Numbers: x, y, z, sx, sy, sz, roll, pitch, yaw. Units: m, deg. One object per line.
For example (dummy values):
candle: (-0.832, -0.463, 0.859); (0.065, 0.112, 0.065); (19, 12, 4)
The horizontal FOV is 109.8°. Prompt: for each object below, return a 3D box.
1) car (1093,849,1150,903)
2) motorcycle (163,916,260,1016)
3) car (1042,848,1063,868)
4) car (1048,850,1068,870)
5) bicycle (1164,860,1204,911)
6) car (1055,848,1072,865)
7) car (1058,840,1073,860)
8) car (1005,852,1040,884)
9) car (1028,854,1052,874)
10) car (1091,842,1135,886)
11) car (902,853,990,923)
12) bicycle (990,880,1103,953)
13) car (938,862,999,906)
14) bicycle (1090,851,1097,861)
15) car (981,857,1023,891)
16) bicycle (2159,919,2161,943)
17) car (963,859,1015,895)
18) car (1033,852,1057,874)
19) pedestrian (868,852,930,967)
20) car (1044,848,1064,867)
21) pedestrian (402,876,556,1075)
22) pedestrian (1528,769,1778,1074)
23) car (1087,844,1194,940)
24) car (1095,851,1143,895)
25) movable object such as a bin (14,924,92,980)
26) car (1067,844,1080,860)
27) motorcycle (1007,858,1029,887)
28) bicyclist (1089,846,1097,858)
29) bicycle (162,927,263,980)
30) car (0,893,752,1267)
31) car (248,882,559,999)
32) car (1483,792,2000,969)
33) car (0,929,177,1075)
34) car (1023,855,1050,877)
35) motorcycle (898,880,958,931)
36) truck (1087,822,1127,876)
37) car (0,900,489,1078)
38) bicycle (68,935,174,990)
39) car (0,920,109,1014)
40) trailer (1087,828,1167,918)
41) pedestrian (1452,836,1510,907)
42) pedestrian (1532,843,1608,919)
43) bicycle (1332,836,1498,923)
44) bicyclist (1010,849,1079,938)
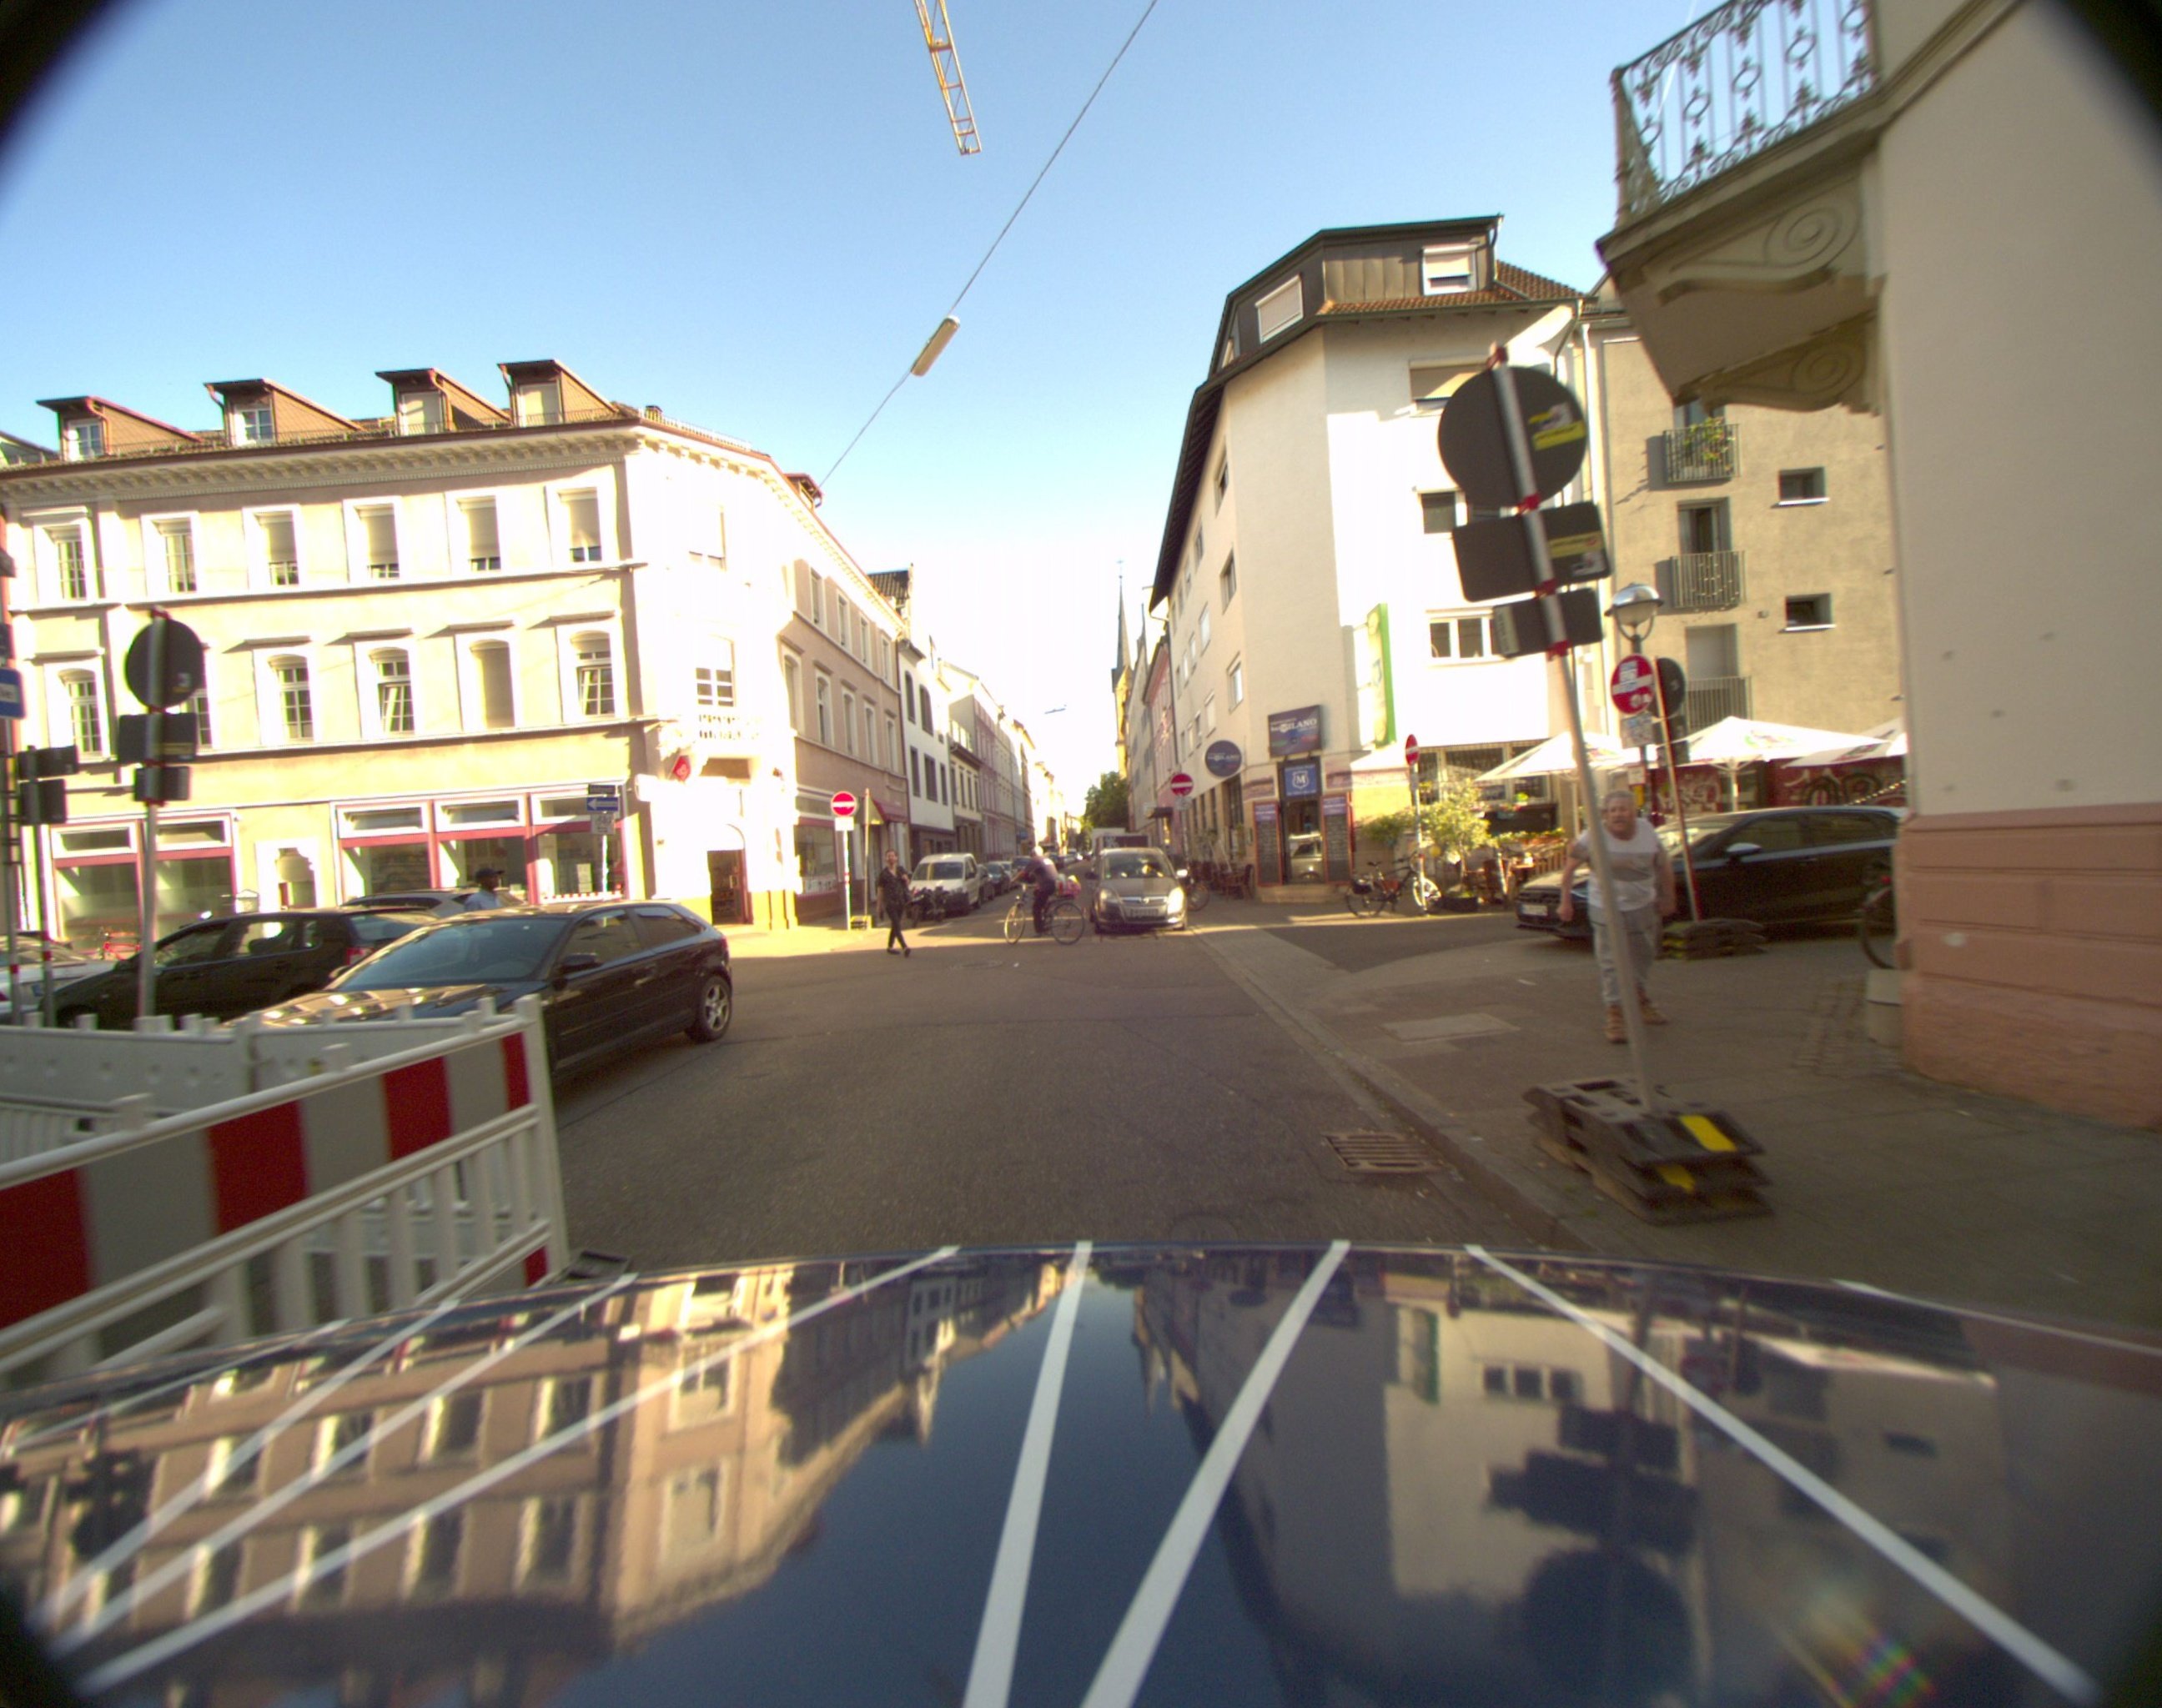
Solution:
car: (1.274, 0.650, 25.031); (1.681, 1.546, 3.817); (-3, 1, 1)
motorcycle: (-16.257, 2.048, 14.193); (2.330, 1.639, 0.853); (-4, 1, 36)
car: (-2.743, 0.370, 73.247); (1.713, 1.721, 4.220); (-3, 1, 1)
car: (-2.617, 0.675, 87.382); (1.999, 2.002, 4.563); (-5, 1, -1)
bicycle: (2.498, 0.751, 18.521); (0.578, 1.132, 1.460); (-5, 1, -4)
car: (-2.369, 0.295, 99.931); (1.999, 2.002, 4.562); (-5, 1, -2)
car: (-2.475, -0.661, 117.573); (1.999, 2.777, 4.562); (-5, 1, -2)
car: (-3.580, 0.815, 47.081); (1.713, 1.721, 4.407); (-3, 1, 1)
car: (-3.266, 0.770, 61.456); (1.612, 1.444, 3.881); (-3, 1, 1)
car: (1.419, 0.419, 35.271); (1.807, 1.834, 4.243); (-3, 1, 1)
car: (-4.020, 0.942, 23.319); (1.752, 1.806, 4.369); (-3, 1, 1)
bicycle: (-0.614, 1.058, 13.001); (1.930, 1.105, 0.712); (-5, 0, 43)
car: (-4.188, 1.086, 28.902); (1.612, 1.400, 3.881); (-3, 1, 1)
bicycle: (2.303, 0.359, 140.046); (1.020, 1.641, 3.546); (-5, 1, -3)
car: (-3.994, 0.994, 38.953); (1.620, 1.495, 3.772); (-3, 1, 1)
bicycle: (3.651, 0.670, 1.424); (0.605, 1.016, 1.818); (-8, 0, 2)
car: (-4.081, 1.010, 34.343); (1.736, 1.388, 3.881); (-3, 1, 1)
car: (-3.109, 0.744, 66.550); (1.713, 1.721, 4.220); (-3, 1, 1)
pedestrian: (-3.013, 0.871, 12.509); (0.829, 1.782, 0.988); (-2, 1, -20)
car: (-2.765, 0.305, 78.604); (1.713, 1.802, 4.220); (-3, 1, 1)
pedestrian: (-6.114, 1.191, 7.774); (0.771, 1.839, 0.780); (-5, 1, -3)
pedestrian: (3.574, 0.403, 4.847); (0.695, 1.691, 0.865); (-8, -1, 1)
car: (1.046, 0.658, 15.282); (1.726, 1.596, 4.166); (-3, 0, 0)
car: (1.443, 0.682, 29.905); (1.677, 1.488, 4.530); (-3, 1, 1)
movable object such as a bin: (-23.003, 2.183, 17.016); (0.717, 1.110, 0.667); (-5, 1, 3)
car: (-1.477, -0.358, 143.618); (1.999, 2.777, 4.562); (-5, 1, -2)
motorcycle: (-3.543, 1.016, 42.949); (0.990, 1.481, 2.267); (-3, 1, 1)
bicyclist: (2.216, -0.381, 140.025); (1.020, 2.280, 1.531); (-5, 1, -3)
bicycle: (-19.638, 2.247, 17.188); (1.644, 1.003, 0.455); (-5, 1, -1)
car: (-4.311, 1.197, 5.679); (1.776, 1.426, 4.033); (-5, 1, 1)
car: (-12.577, 1.572, 14.314); (4.069, 1.623, 1.855); (-4, 3, 2)
car: (7.051, 0.262, 8.448); (4.150, 1.447, 1.759); (-4, 0, 0)
car: (-13.709, 1.813, 8.790); (4.480, 1.425, 1.757); (-4, -1, 2)
car: (-3.220, 0.869, 55.144); (1.612, 1.388, 3.881); (-3, 1, 1)
motorcycle: (-3.958, 1.311, 19.791); (0.720, 1.080, 1.997); (-4, 1, 12)
truck: (1.723, -0.342, 49.619); (2.296, 3.165, 7.044); (-3, 1, 2)
car: (-9.381, 1.451, 8.658); (3.877, 1.445, 1.677); (-4, 0, 2)
bicycle: (-21.415, 2.420, 16.965); (1.644, 1.003, 0.455); (-5, 1, -1)
car: (-21.872, 2.297, 14.645); (3.913, 1.505, 1.750); (-4, 4, 2)
trailer: (1.113, 0.416, 20.153); (1.666, 2.049, 4.362); (-3, 1, -1)
pedestrian: (7.523, 0.311, 14.307); (0.687, 1.259, 0.660); (-5, 1, 5)
pedestrian: (8.790, 0.466, 13.697); (0.850, 1.259, 0.706); (-5, 1, 5)
bicycle: (5.909, 0.439, 13.576); (2.481, 1.351, 0.928); (-4, 1, 2)
bicyclist: (-0.618, 0.666, 12.956); (0.788, 1.427, 0.712); (-4, 0, 43)
